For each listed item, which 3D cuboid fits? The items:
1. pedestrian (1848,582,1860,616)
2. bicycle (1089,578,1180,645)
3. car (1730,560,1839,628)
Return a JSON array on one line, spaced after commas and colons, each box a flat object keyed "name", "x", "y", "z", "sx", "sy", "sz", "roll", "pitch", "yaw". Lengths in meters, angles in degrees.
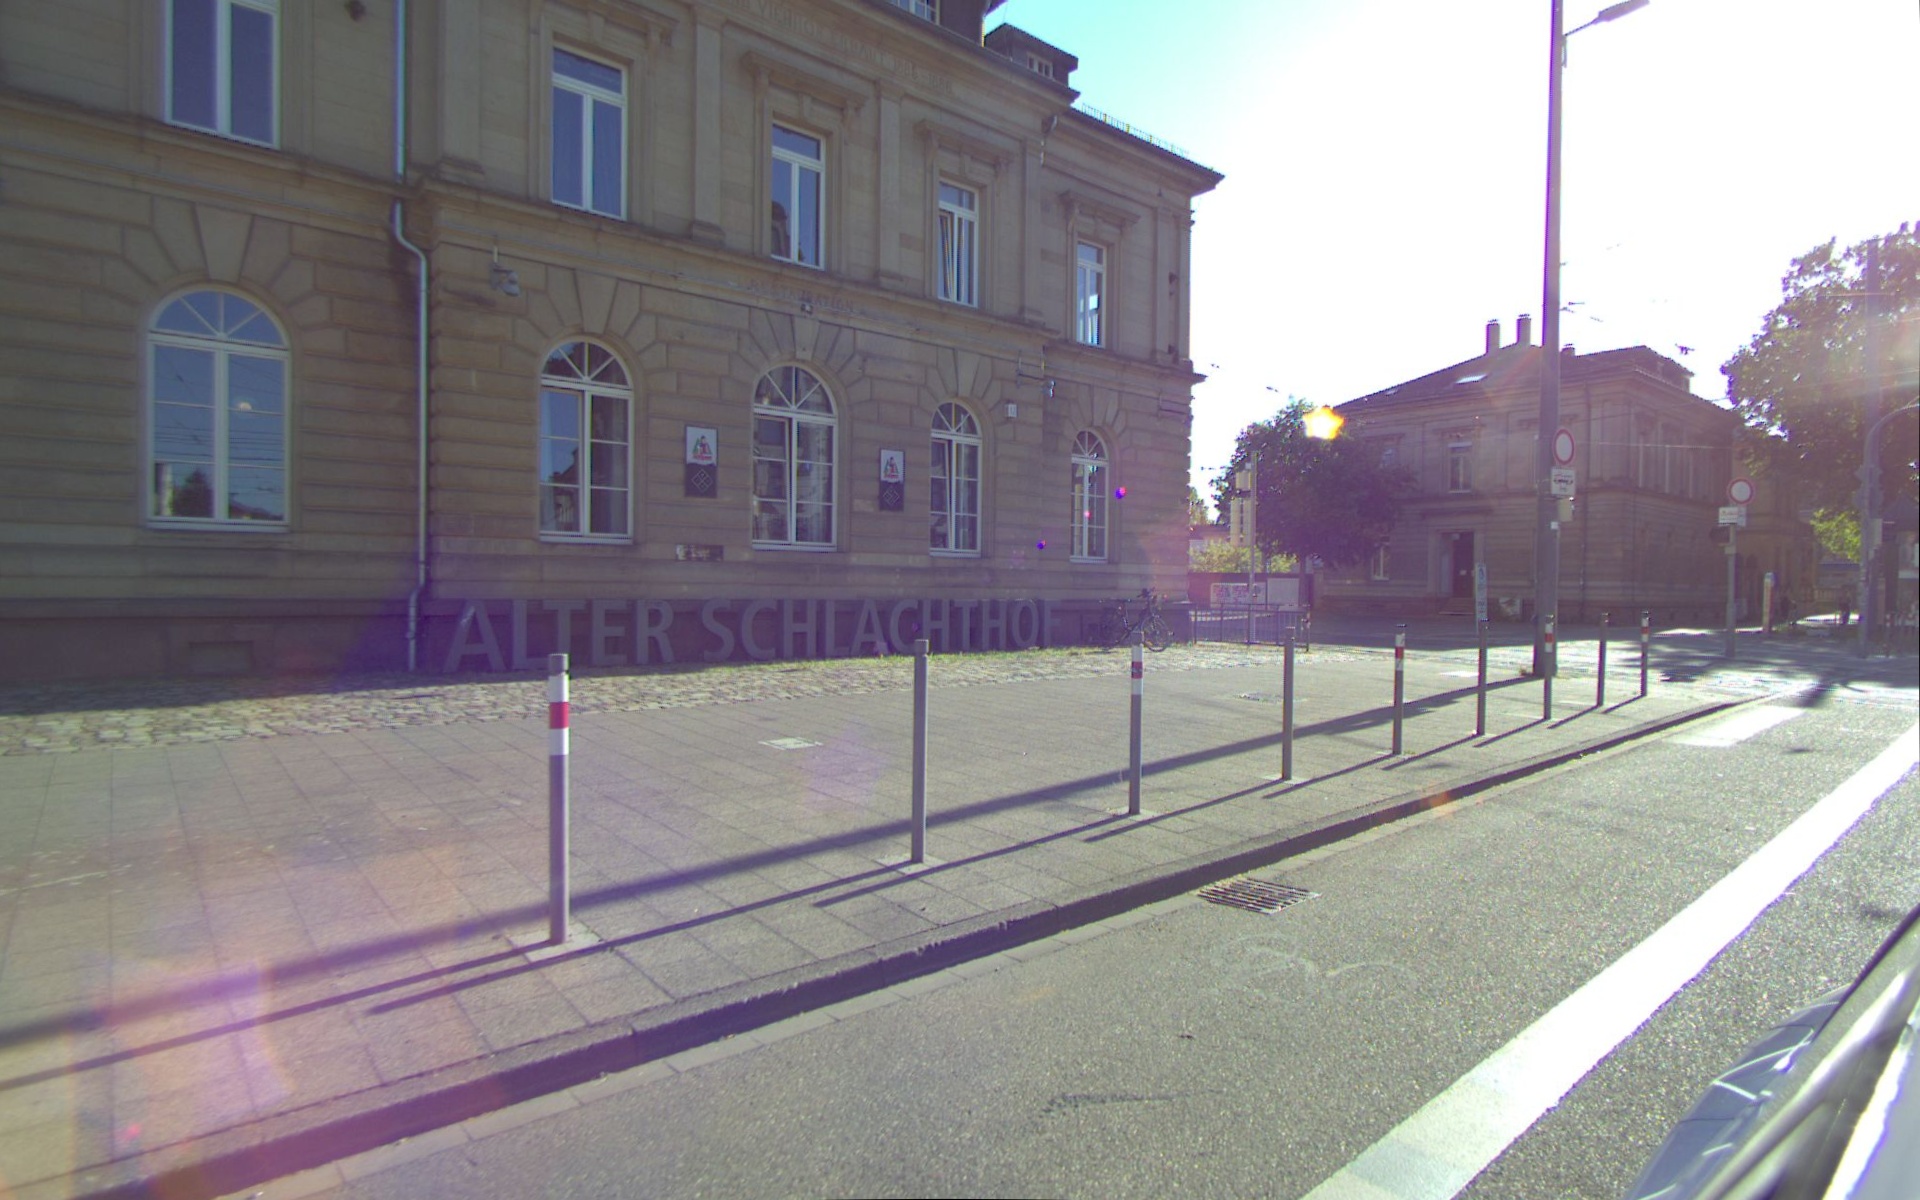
[{"name": "pedestrian", "x": 44.236, "y": -0.073, "z": 50.063, "sx": 0.383, "sy": 1.665, "sz": 0.364, "roll": 0, "pitch": 0, "yaw": -39}, {"name": "bicycle", "x": 3.354, "y": 0.199, "z": 19.539, "sx": 0.678, "sy": 1.195, "sz": 1.649, "roll": 0, "pitch": 2, "yaw": -41}, {"name": "car", "x": 26.953, "y": -0.223, "z": 33.042, "sx": 3.925, "sy": 2.072, "sz": 1.834, "roll": -1, "pitch": 1, "yaw": -36}]
